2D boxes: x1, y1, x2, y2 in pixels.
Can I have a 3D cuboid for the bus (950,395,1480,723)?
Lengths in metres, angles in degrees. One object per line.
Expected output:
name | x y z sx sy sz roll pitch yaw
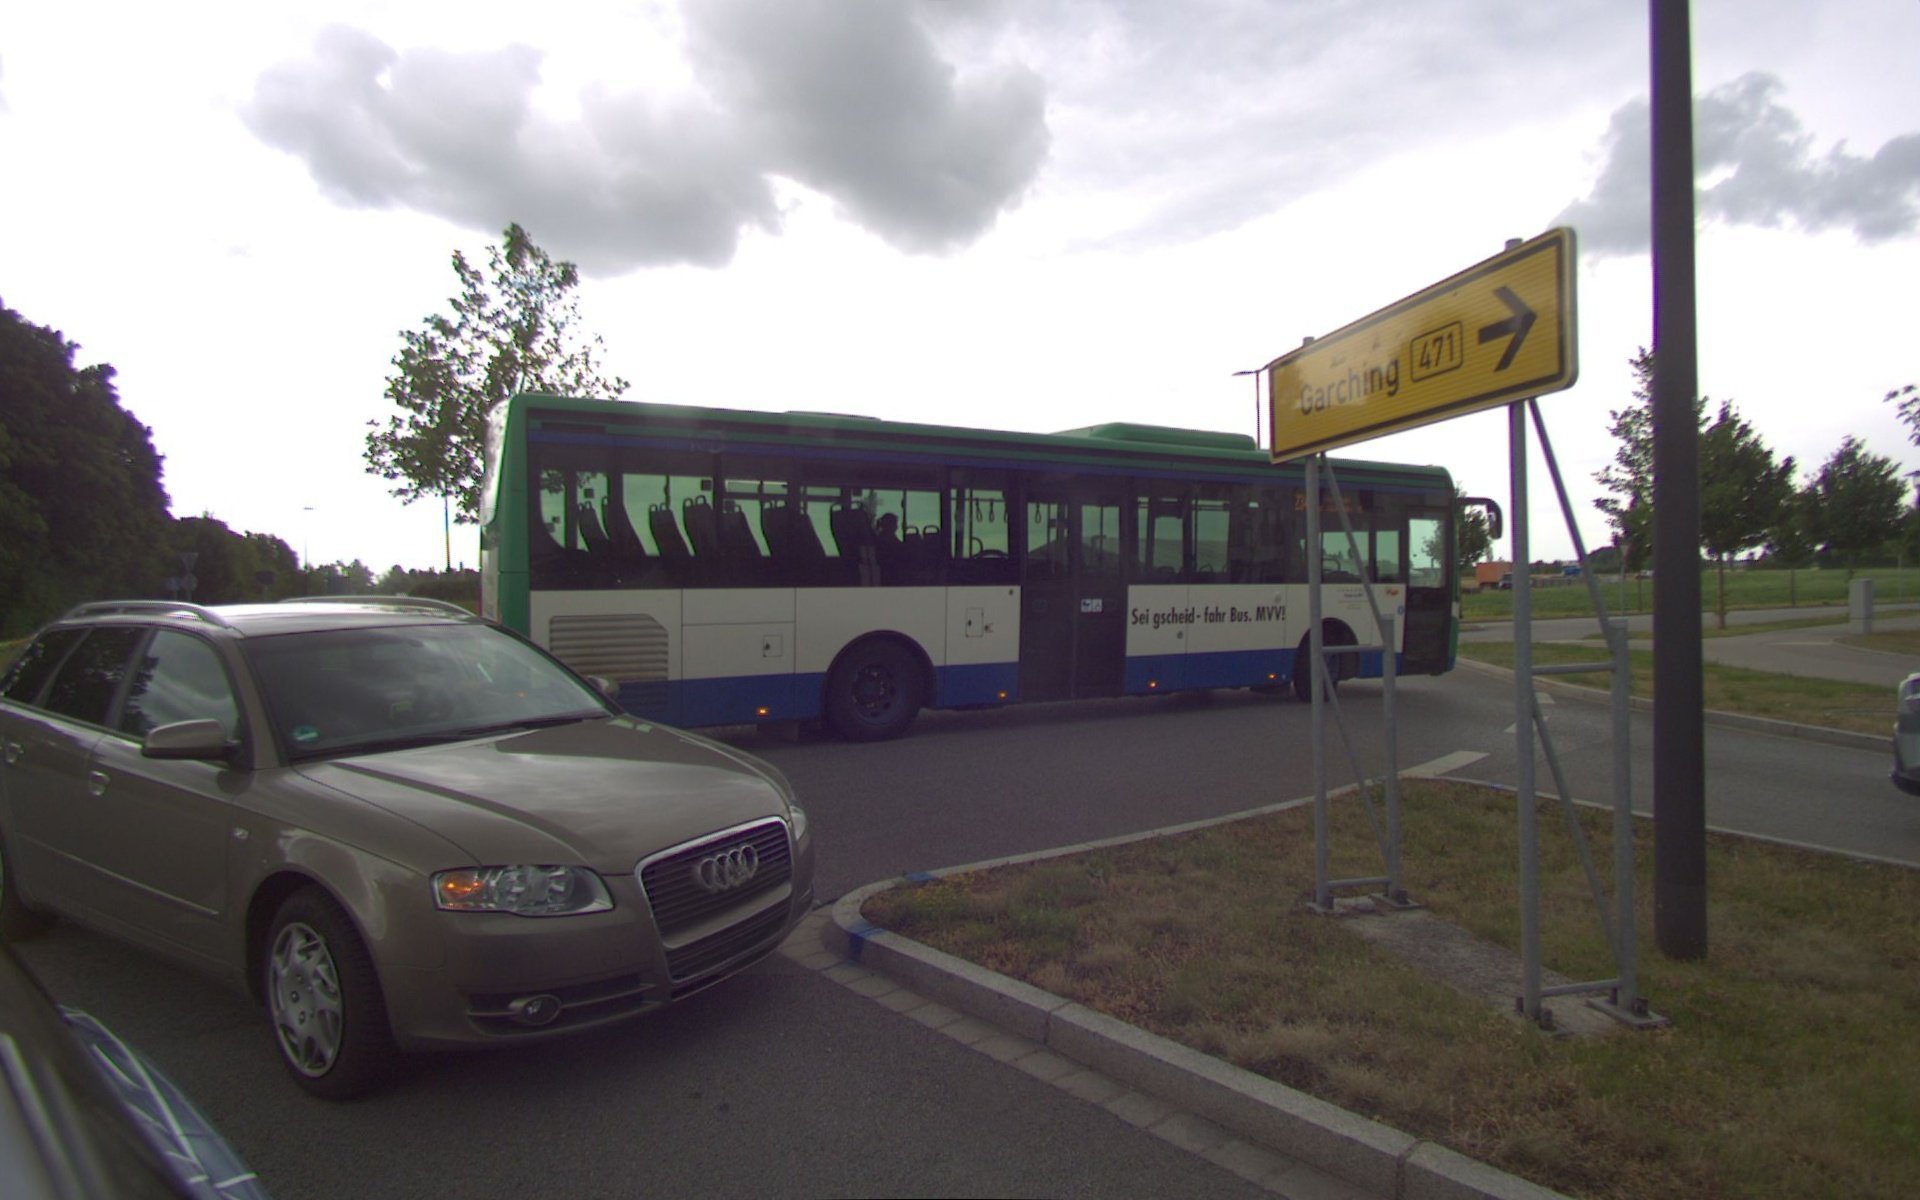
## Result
bus | 3.310 -0.421 12.744 6.436 3.283 2.533 0 0 -28

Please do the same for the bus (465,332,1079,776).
bus | -1.789 -0.349 9.867 5.366 3.283 2.533 0 0 -28

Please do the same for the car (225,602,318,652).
car | -24.186 0.896 35.709 1.751 1.552 4.013 -2 1 -20

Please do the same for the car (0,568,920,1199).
car | -2.557 0.683 4.210 4.521 1.476 1.766 -1 1 30

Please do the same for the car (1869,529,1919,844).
car | 7.095 0.460 4.128 1.966 1.716 4.649 0 0 -29
